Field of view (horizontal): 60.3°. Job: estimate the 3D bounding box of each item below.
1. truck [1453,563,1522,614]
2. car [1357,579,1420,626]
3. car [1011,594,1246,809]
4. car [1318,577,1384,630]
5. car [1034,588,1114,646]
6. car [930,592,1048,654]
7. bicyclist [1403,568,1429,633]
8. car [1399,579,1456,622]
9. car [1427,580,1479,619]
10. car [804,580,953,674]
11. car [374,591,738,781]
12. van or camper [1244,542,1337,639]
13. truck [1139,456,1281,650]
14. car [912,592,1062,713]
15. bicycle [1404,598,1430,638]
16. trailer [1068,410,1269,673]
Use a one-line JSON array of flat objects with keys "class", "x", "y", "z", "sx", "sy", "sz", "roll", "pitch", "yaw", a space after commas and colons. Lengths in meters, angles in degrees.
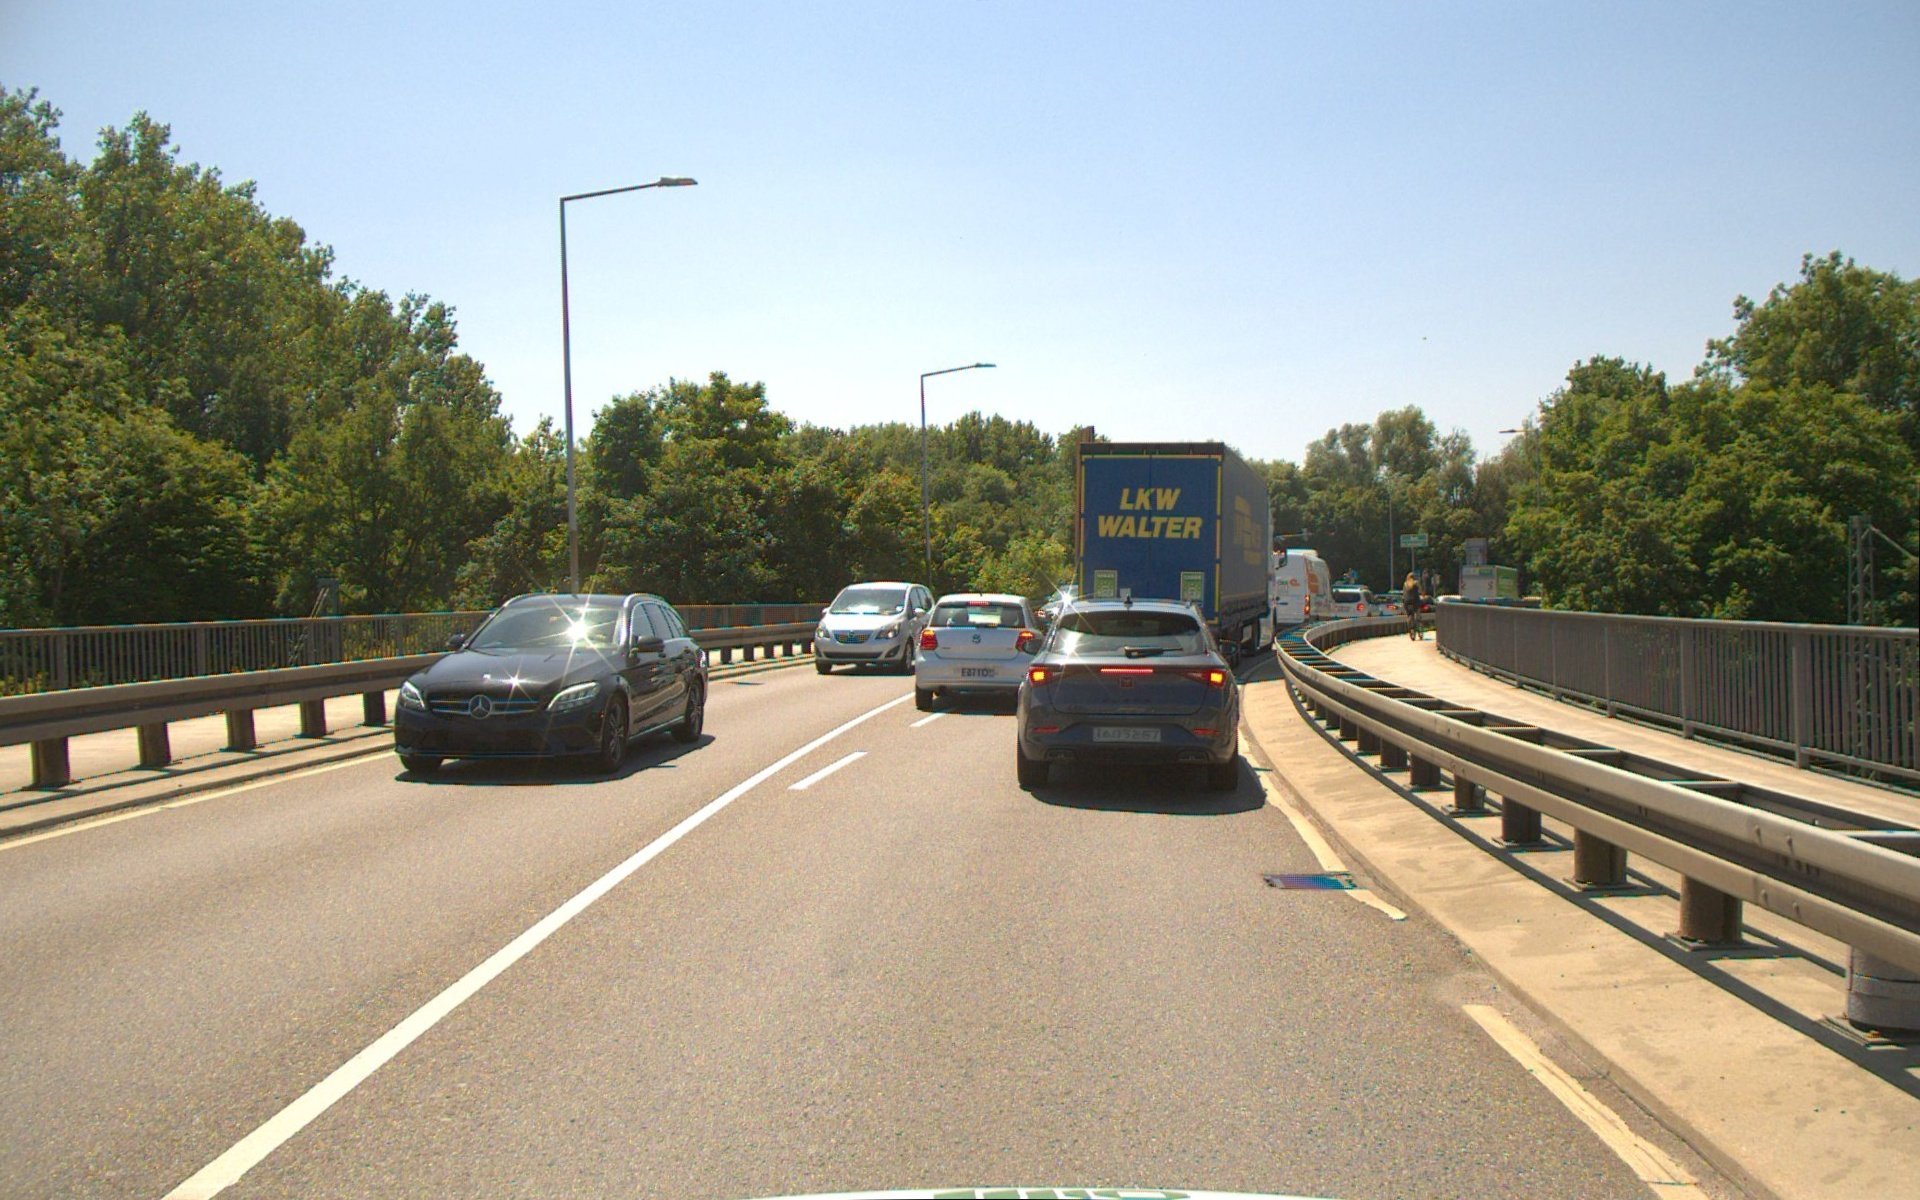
[{"class": "truck", "x": 30.960, "y": -0.669, "z": 96.941, "sx": 2.294, "sy": 2.924, "sz": 5.922, "roll": 1, "pitch": 1, "yaw": 34}, {"class": "car", "x": 17.423, "y": 0.060, "z": 67.134, "sx": 1.687, "sy": 1.834, "sz": 3.996, "roll": 1, "pitch": 1, "yaw": 26}, {"class": "car", "x": 1.481, "y": 0.704, "z": 13.666, "sx": 1.641, "sy": 1.481, "sz": 3.962, "roll": 1, "pitch": 0, "yaw": 9}, {"class": "car", "x": 14.381, "y": 0.084, "z": 60.717, "sx": 1.686, "sy": 1.876, "sz": 3.999, "roll": 1, "pitch": 1, "yaw": 23}, {"class": "car", "x": 3.523, "y": 0.489, "z": 50.350, "sx": 1.762, "sy": 1.669, "sz": 4.304, "roll": 0, "pitch": 0, "yaw": 13}, {"class": "car", "x": 0.761, "y": 0.521, "z": 39.866, "sx": 1.661, "sy": 1.400, "sz": 4.001, "roll": 0, "pitch": 0, "yaw": 19}, {"class": "bicyclist", "x": 12.238, "y": 0.008, "z": 44.375, "sx": 0.565, "sy": 1.712, "sz": 0.729, "roll": -2, "pitch": -1, "yaw": 18}, {"class": "car", "x": 21.228, "y": 0.015, "z": 75.024, "sx": 1.688, "sy": 1.876, "sz": 3.995, "roll": 1, "pitch": 1, "yaw": 28}, {"class": "car", "x": 24.190, "y": -0.040, "z": 81.075, "sx": 1.688, "sy": 1.876, "sz": 3.995, "roll": 1, "pitch": 1, "yaw": 28}, {"class": "car", "x": -1.428, "y": 0.461, "z": 30.604, "sx": 1.699, "sy": 1.607, "sz": 4.180, "roll": 0, "pitch": 0, "yaw": 13}, {"class": "car", "x": -3.445, "y": 0.655, "z": 15.030, "sx": 1.734, "sy": 1.464, "sz": 4.395, "roll": 0, "pitch": 0, "yaw": 7}, {"class": "van or camper", "x": 10.561, "y": -0.323, "z": 52.498, "sx": 2.109, "sy": 2.864, "sz": 6.390, "roll": 1, "pitch": 1, "yaw": 18}, {"class": "truck", "x": 6.442, "y": -1.135, "z": 41.824, "sx": 2.843, "sy": 4.496, "sz": 6.561, "roll": 1, "pitch": 1, "yaw": 14}, {"class": "car", "x": 0.451, "y": 0.633, "z": 22.417, "sx": 1.641, "sy": 1.435, "sz": 3.978, "roll": 1, "pitch": 1, "yaw": 6}, {"class": "bicycle", "x": 12.268, "y": 0.473, "z": 44.402, "sx": 0.570, "sy": 1.054, "sz": 1.485, "roll": -2, "pitch": -1, "yaw": 18}, {"class": "trailer", "x": 4.707, "y": -1.078, "z": 34.656, "sx": 2.842, "sy": 4.495, "sz": 12.444, "roll": 1, "pitch": 1, "yaw": 13}]
